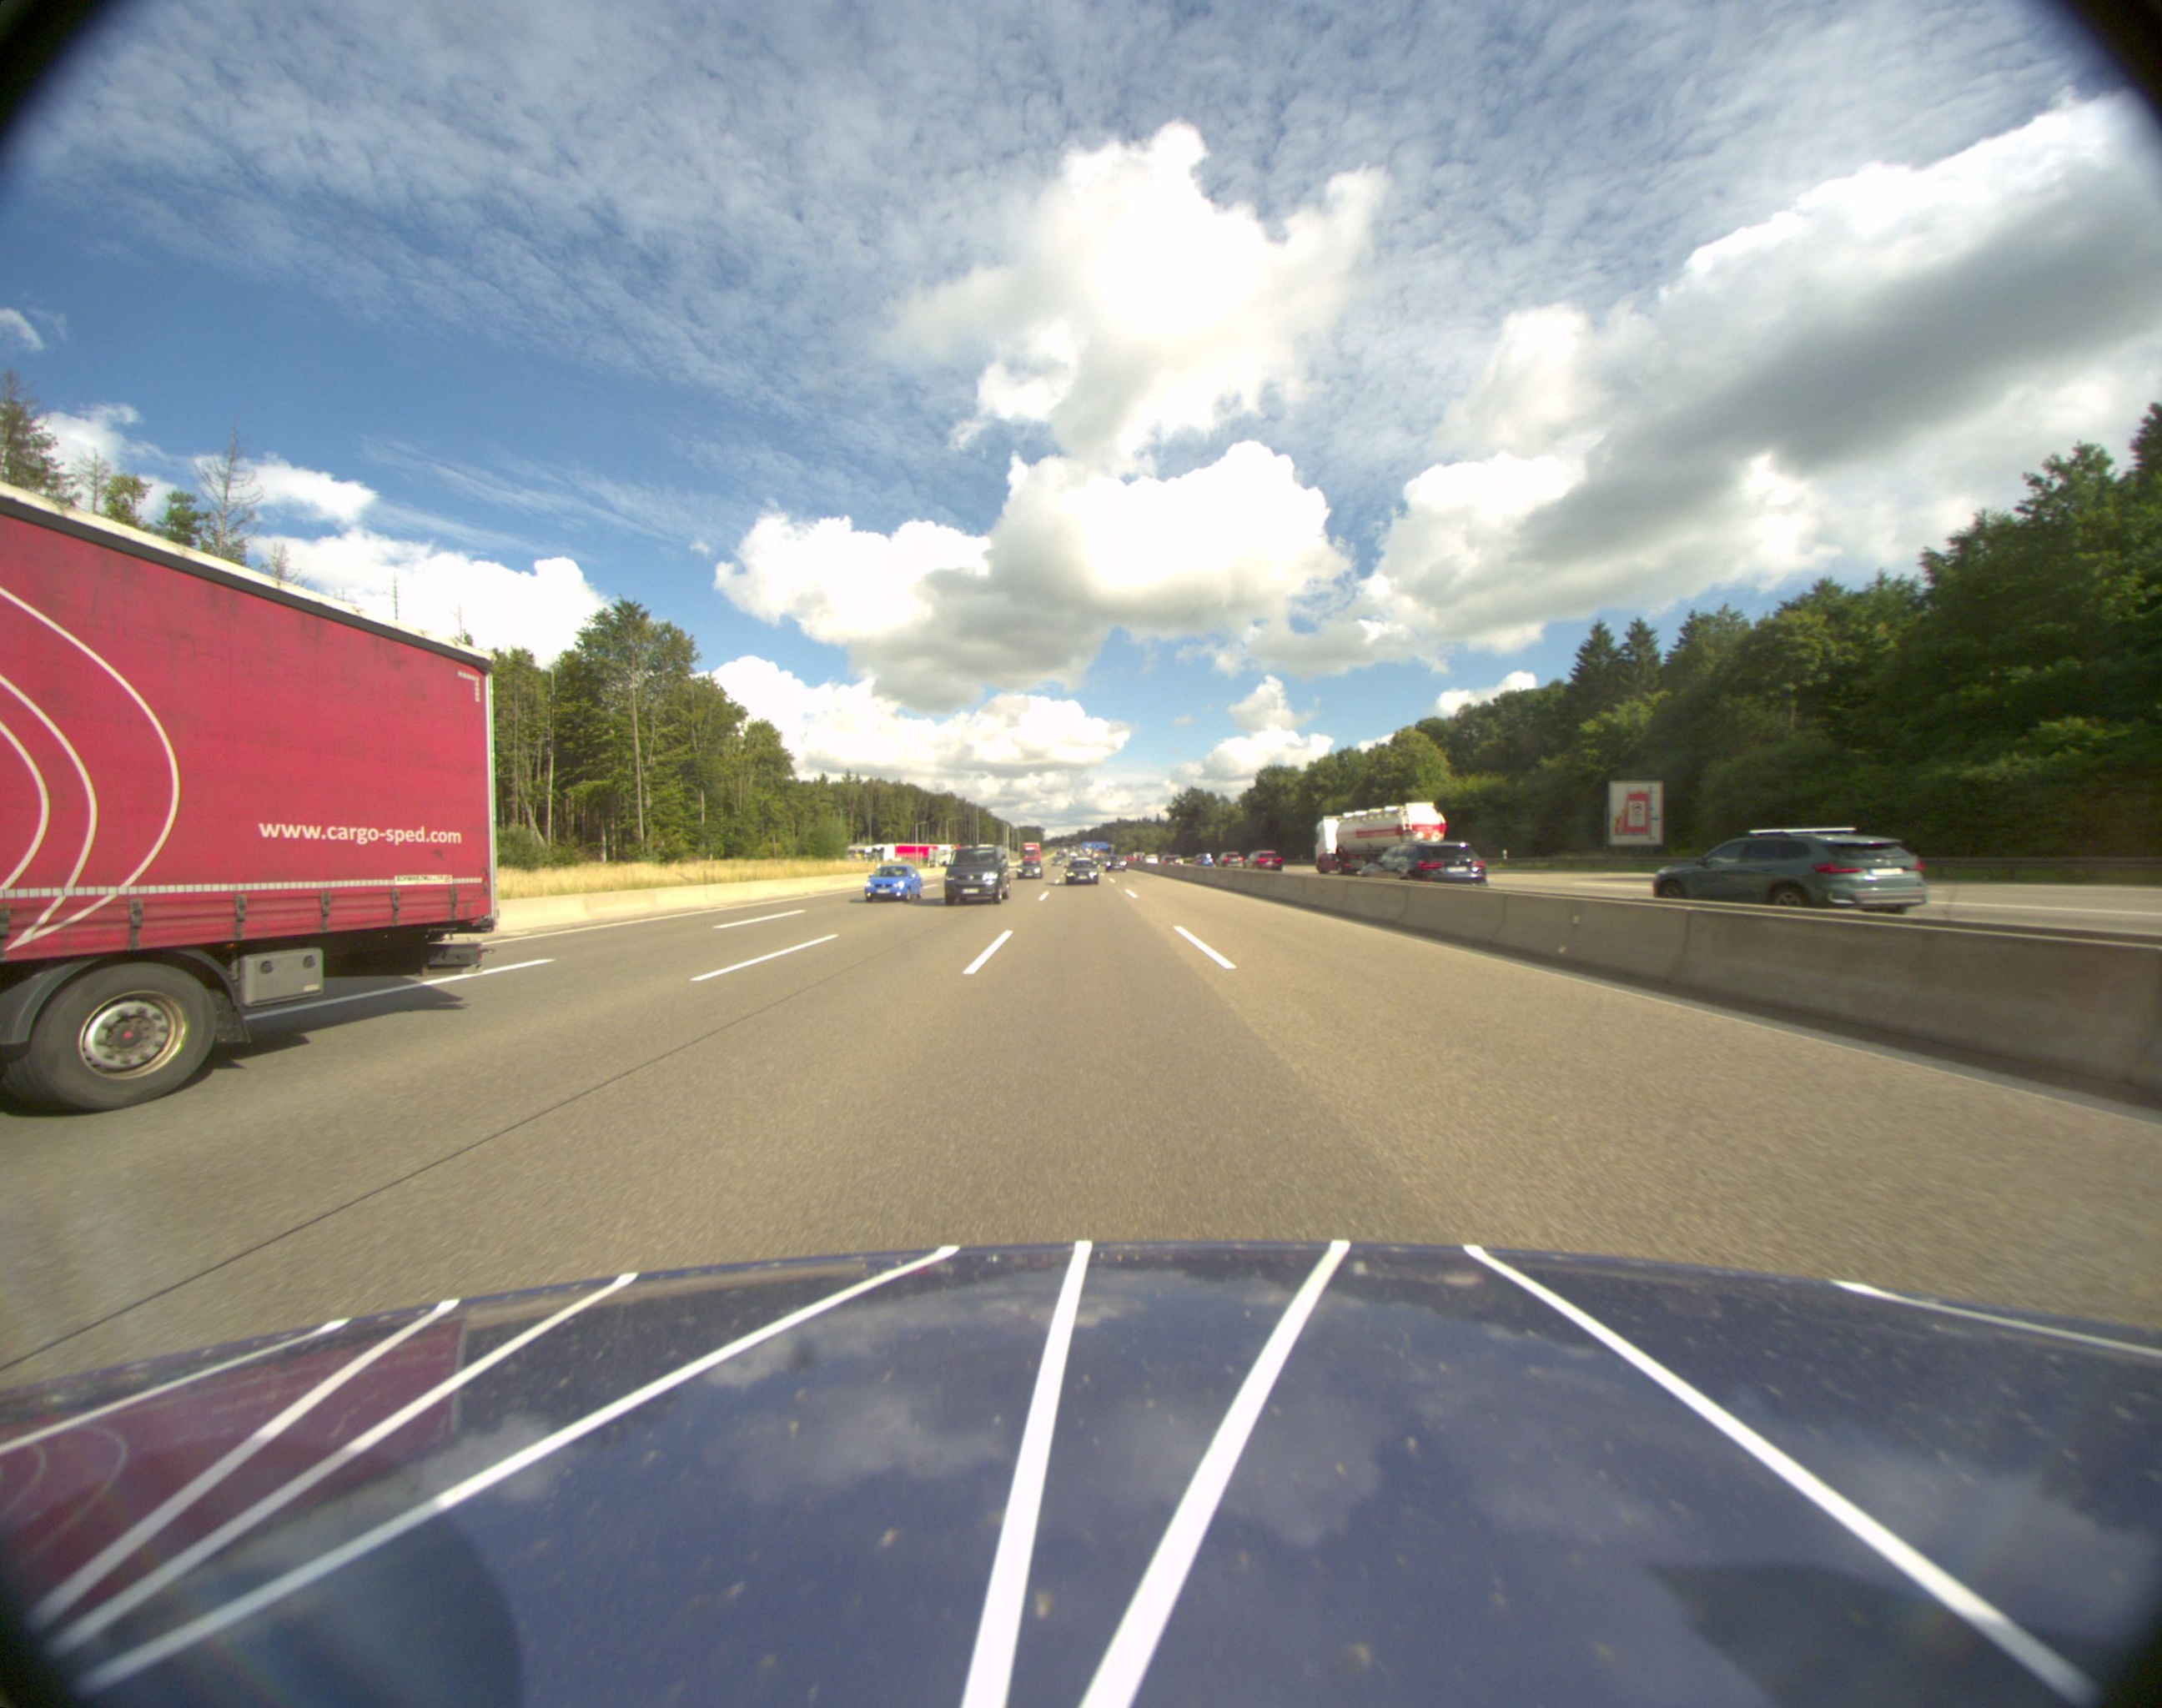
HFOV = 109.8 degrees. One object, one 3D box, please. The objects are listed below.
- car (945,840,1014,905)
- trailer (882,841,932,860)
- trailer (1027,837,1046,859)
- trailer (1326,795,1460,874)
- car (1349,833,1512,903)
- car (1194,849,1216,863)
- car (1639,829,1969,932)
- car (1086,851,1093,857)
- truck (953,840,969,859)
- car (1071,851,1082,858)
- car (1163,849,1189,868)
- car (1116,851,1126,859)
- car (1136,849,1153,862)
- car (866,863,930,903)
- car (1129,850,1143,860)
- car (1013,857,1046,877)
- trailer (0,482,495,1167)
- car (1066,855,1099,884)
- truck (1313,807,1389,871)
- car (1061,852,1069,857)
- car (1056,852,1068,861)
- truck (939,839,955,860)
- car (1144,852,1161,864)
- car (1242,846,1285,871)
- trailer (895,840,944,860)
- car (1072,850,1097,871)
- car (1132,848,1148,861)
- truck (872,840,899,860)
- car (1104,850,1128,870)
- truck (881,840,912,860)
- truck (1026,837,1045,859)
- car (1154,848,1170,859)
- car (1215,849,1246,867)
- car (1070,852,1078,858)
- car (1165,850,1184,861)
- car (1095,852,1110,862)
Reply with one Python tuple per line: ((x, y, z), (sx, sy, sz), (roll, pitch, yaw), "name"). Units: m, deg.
((-3.569, 0.610, 27.587), (1.854, 2.097, 4.931), (-2, 0, -1), "car")
((-41.066, -0.950, 179.802), (11.571, 4.404, 2.854), (-1, 1, -45), "trailer")
((-8.027, -1.069, 138.690), (3.018, 3.662, 13.573), (-1, 0, -1), "trailer")
((17.735, -0.990, 44.496), (2.795, 3.922, 12.252), (-2, 0, 0), "trailer")
((9.795, 0.345, 21.899), (2.160, 1.690, 5.350), (-2, 0, -1), "car")
((13.794, 0.196, 84.606), (1.633, 1.503, 3.999), (-1, 0, -2), "car")
((13.728, 0.439, 14.957), (1.999, 1.654, 4.686), (-2, 0, -1), "car")
((2.640, -0.035, 231.276), (1.892, 1.783, 3.999), (-1, 0, -1), "car")
((-29.503, -1.106, 186.486), (2.879, 4.480, 7.035), (-1, 0, -1), "truck")
((-0.958, 0.117, 162.478), (2.153, 1.540, 4.676), (-2, 0, -1), "car")
((10.094, 0.458, 81.069), (2.177, 1.867, 4.980), (0, 0, -1), "car")
((8.323, 0.149, 158.367), (1.746, 1.608, 4.549), (-2, 0, -1), "car")
((9.637, 0.232, 115.749), (2.177, 1.790, 4.875), (-2, 0, -1), "car")
((-7.289, 1.122, 30.660), (1.654, 1.433, 3.999), (-2, 0, -1), "car")
((9.758, 0.180, 134.689), (2.177, 1.608, 4.549), (-2, 0, -1), "car")
((-3.898, 0.959, 58.306), (2.153, 1.426, 5.098), (-2, 0, -1), "car")
((-7.777, -0.143, 1.209), (2.781, 4.021, 13.713), (-2, 0, 1), "trailer")
((0.089, 0.848, 43.346), (1.733, 1.500, 4.728), (-2, 0, 0), "car")
((17.811, -0.926, 50.575), (2.795, 3.922, 6.445), (-2, 0, 0), "truck")
((-4.472, 0.155, 217.329), (2.153, 1.540, 4.676), (-2, 0, -1), "car")
((-3.609, 0.440, 145.052), (2.153, 1.540, 4.676), (-2, 0, -1), "car")
((-28.515, -0.956, 162.219), (2.880, 4.480, 7.172), (0, 0, -7), "truck")
((9.952, 0.517, 106.568), (1.918, 1.631, 4.241), (-2, 0, -1), "car")
((13.316, 0.297, 55.688), (1.859, 1.660, 5.210), (-2, 0, 0), "car")
((-37.711, -0.997, 177.626), (11.406, 4.348, 2.838), (-2, 1, -44), "trailer")
((0.363, 0.586, 70.427), (2.152, 1.800, 5.099), (-2, 1, 1), "car")
((9.906, 0.052, 127.174), (2.165, 2.002, 5.821), (0, 0, 0), "car")
((-45.178, -0.886, 175.696), (5.132, 4.482, 2.889), (-1, 1, -45), "truck")
((3.403, 0.570, 75.254), (2.152, 1.800, 5.099), (-2, 1, 1), "car")
((-42.011, -0.934, 173.433), (6.109, 4.481, 2.873), (-2, 1, -44), "truck")
((-7.817, -1.024, 132.416), (3.018, 3.662, 7.559), (-1, 0, -1), "truck")
((13.880, -0.021, 130.609), (1.999, 1.794, 5.125), (-2, 0, 0), "car")
((13.990, 0.337, 71.377), (1.864, 1.610, 4.747), (-2, 0, 0), "car")
((-1.869, 0.356, 200.257), (2.153, 1.540, 4.676), (-2, 0, -1), "car")
((13.097, 0.238, 106.601), (1.999, 1.476, 5.131), (-2, 0, 0), "car")
((3.371, 0.468, 119.947), (2.153, 1.540, 4.676), (-2, 0, -1), "car")
